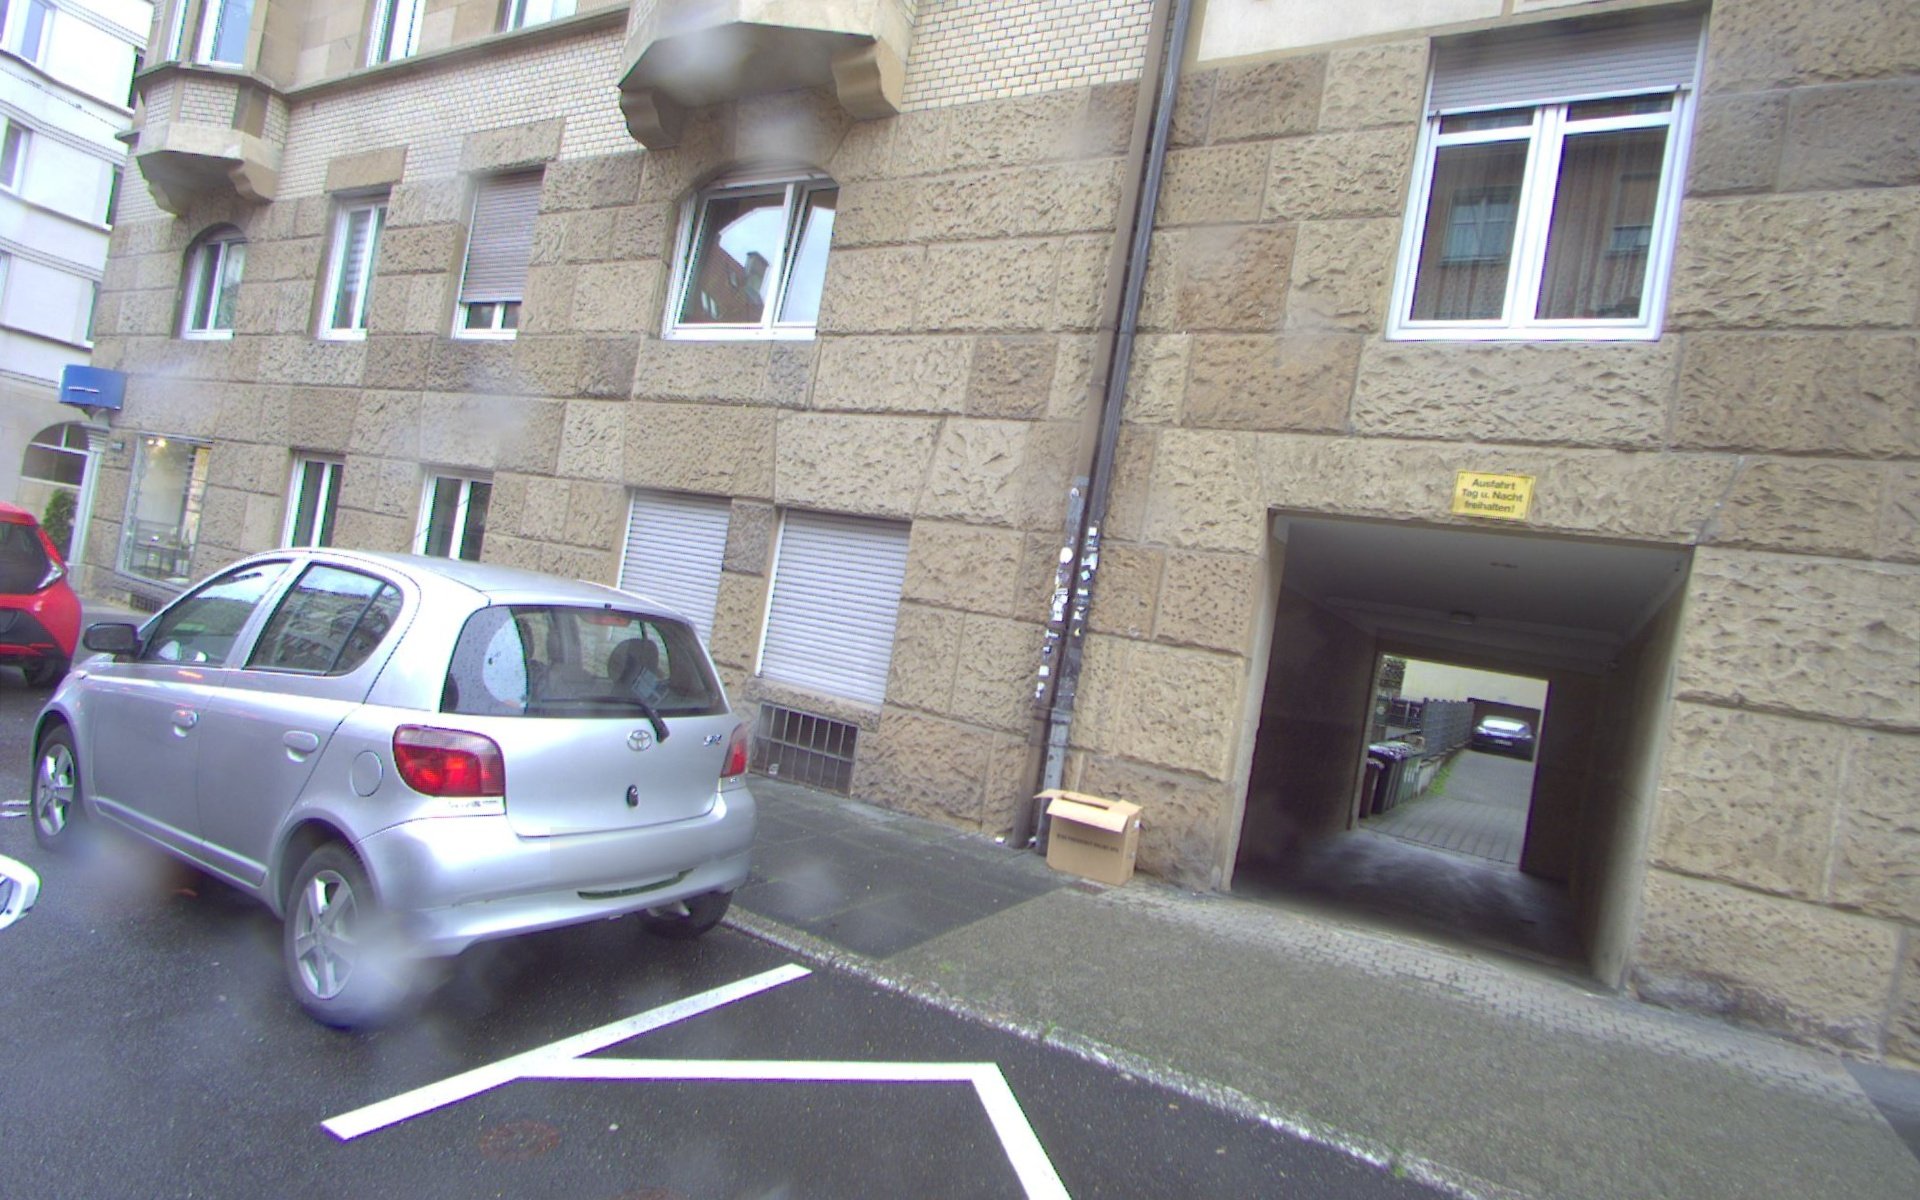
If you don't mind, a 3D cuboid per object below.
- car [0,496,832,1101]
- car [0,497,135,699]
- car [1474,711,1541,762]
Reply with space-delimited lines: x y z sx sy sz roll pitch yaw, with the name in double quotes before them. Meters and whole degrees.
"car" -2.483 0.520 4.343 3.464 1.504 1.597 7 -1 32
"car" -8.686 -0.211 8.226 3.472 1.469 1.711 7 -3 29
"car" 18.396 4.540 33.866 1.764 1.362 4.015 6 -2 28
